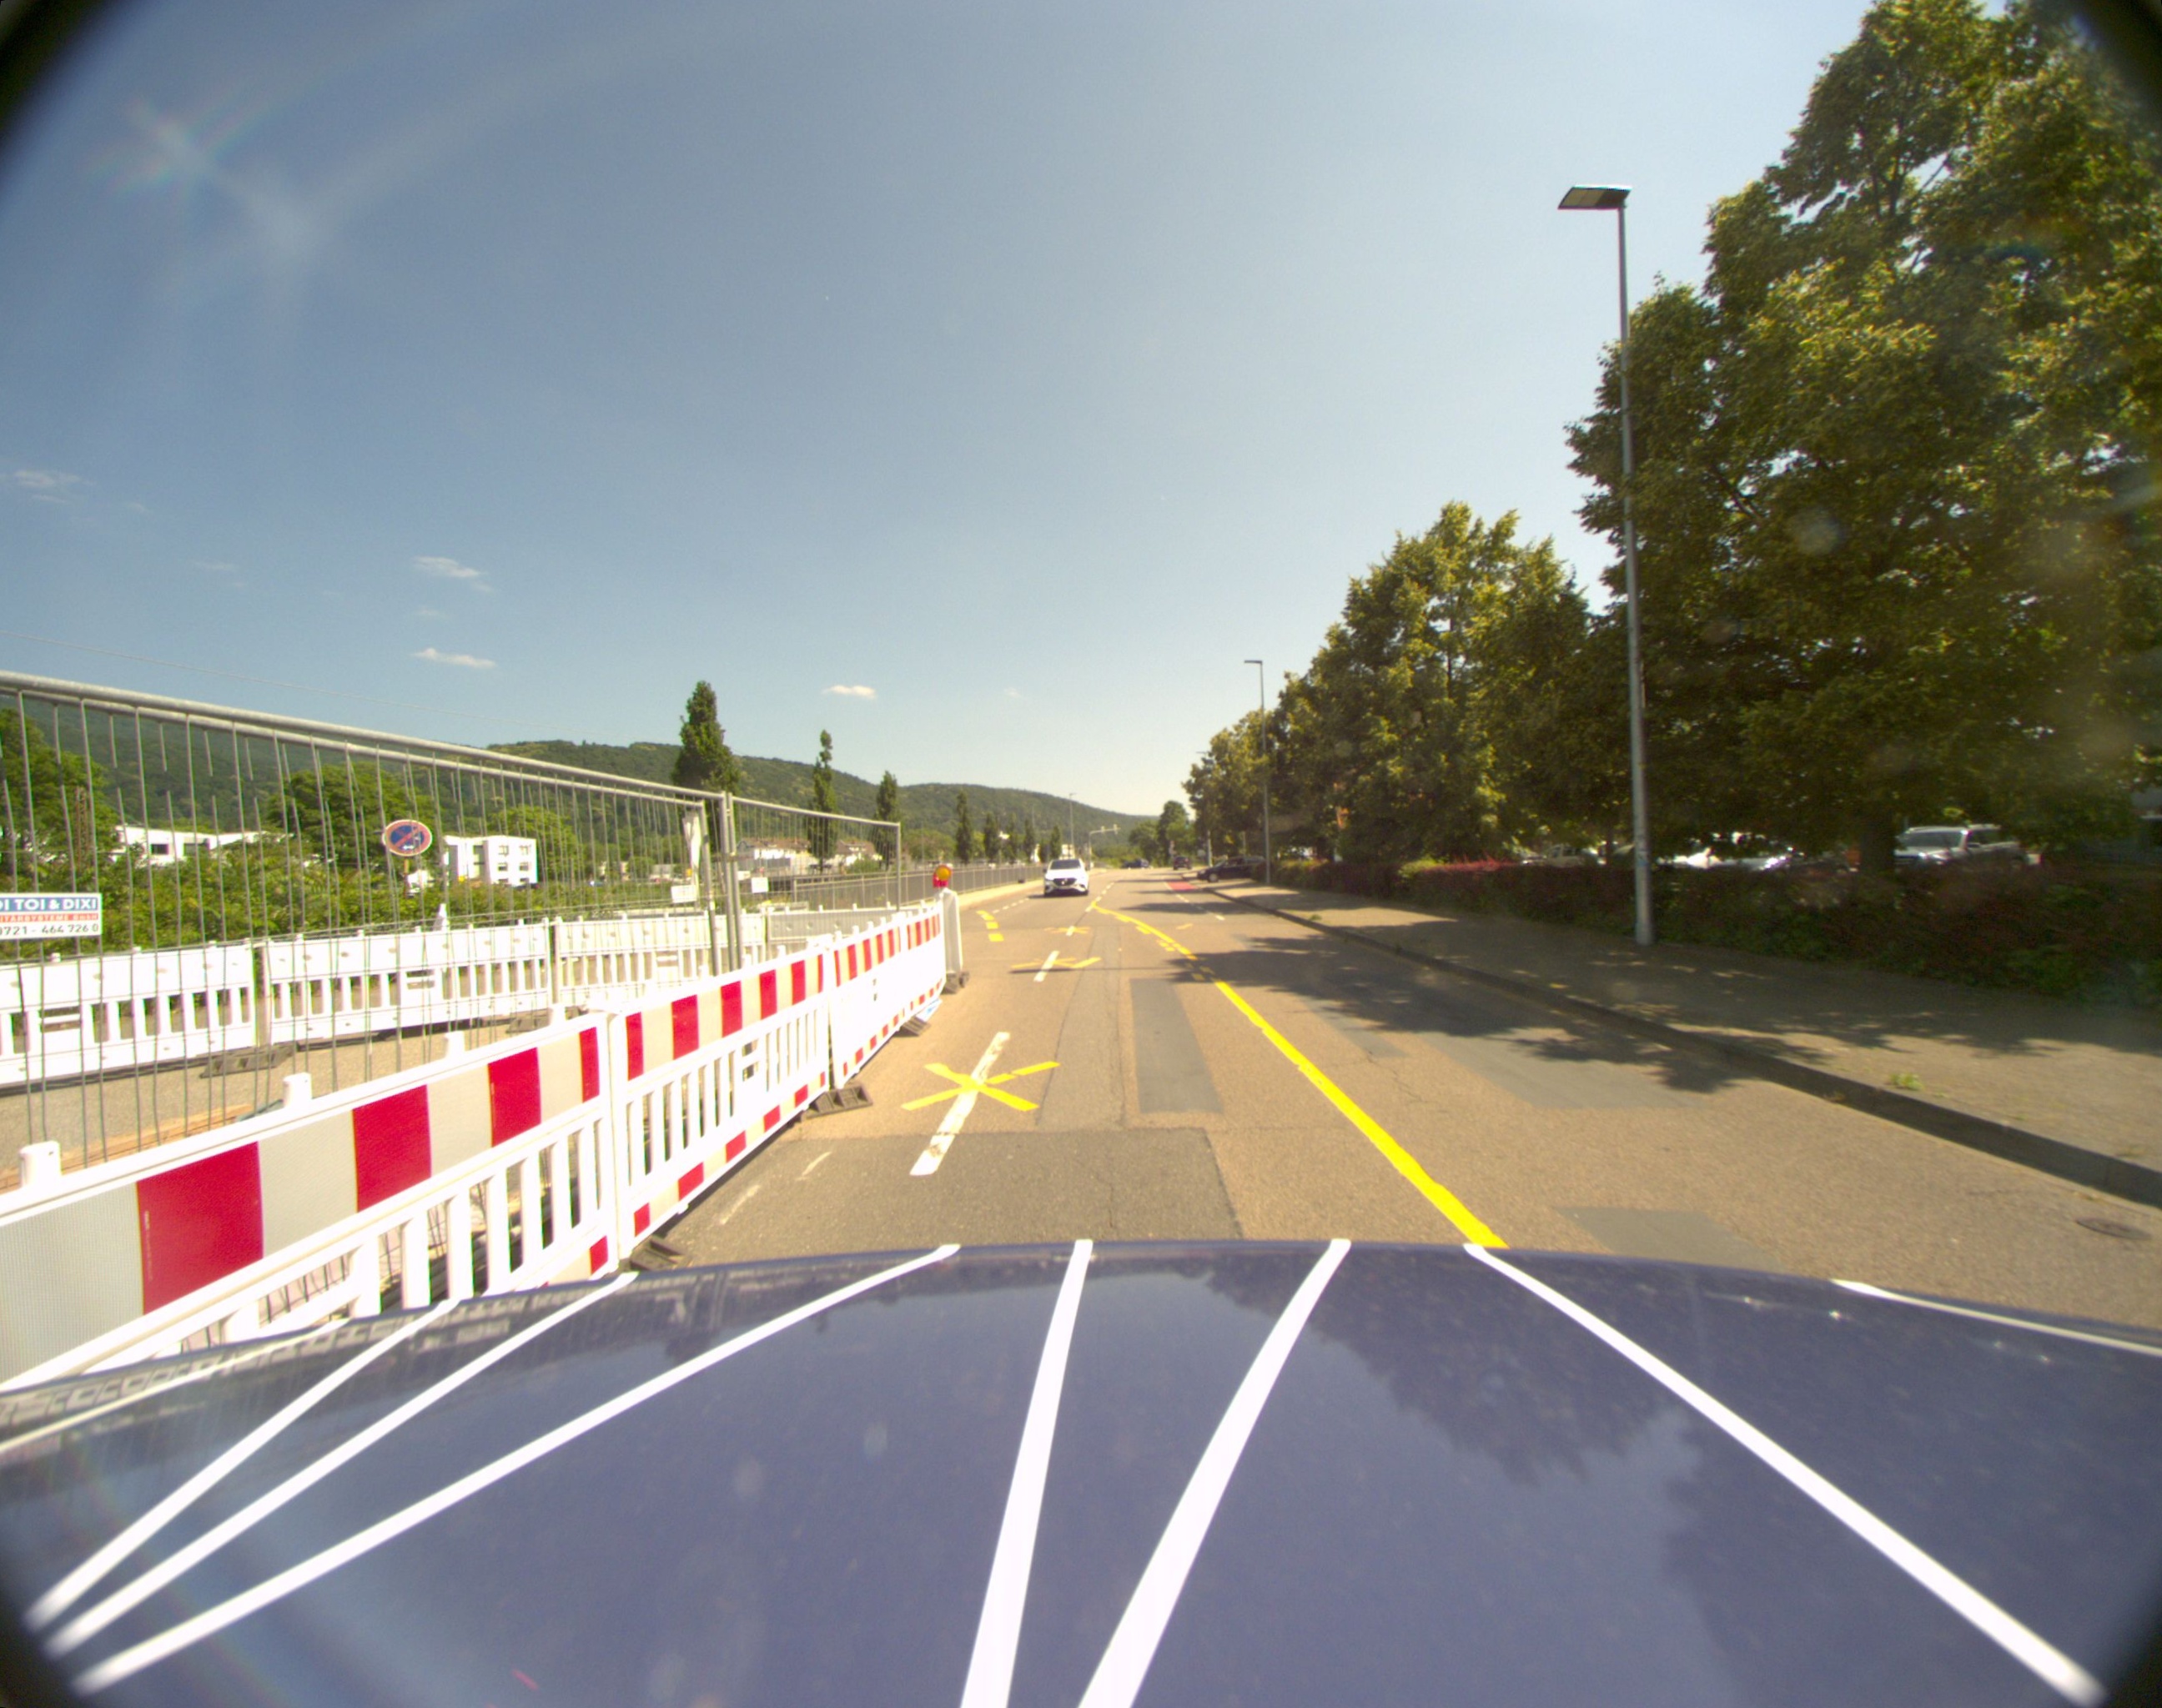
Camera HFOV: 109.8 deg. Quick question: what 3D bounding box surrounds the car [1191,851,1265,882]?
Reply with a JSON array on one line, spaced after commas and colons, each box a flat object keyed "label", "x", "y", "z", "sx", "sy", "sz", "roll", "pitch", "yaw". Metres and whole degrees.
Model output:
[{"label": "car", "x": 8.424, "y": 0.730, "z": 43.820, "sx": 3.995, "sy": 1.455, "sz": 1.881, "roll": -4, "pitch": 0, "yaw": 6}]

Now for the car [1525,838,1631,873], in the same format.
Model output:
[{"label": "car", "x": 24.431, "y": 0.085, "z": 37.563, "sx": 1.922, "sy": 1.543, "sz": 4.137, "roll": -2, "pitch": 0, "yaw": -14}]

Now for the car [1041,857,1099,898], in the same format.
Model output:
[{"label": "car", "x": -0.433, "y": 1.018, "z": 35.000, "sx": 1.998, "sy": 1.635, "sz": 5.033, "roll": -3, "pitch": 0, "yaw": 6}]

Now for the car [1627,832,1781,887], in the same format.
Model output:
[{"label": "car", "x": 21.324, "y": 0.174, "z": 26.047, "sx": 4.314, "sy": 1.676, "sz": 1.860, "roll": -2, "pitch": 0, "yaw": -15}]

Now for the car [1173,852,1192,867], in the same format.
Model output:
[{"label": "car", "x": 11.882, "y": 0.643, "z": 88.681, "sx": 1.997, "sy": 1.635, "sz": 4.532, "roll": -1, "pitch": 0, "yaw": 11}]

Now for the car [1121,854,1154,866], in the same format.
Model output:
[{"label": "car", "x": 8.133, "y": 0.887, "z": 109.447, "sx": 4.515, "sy": 1.635, "sz": 2.004, "roll": -1, "pitch": 0, "yaw": 41}]

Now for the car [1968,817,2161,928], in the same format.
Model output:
[{"label": "car", "x": 17.123, "y": 0.275, "z": 11.682, "sx": 1.861, "sy": 1.676, "sz": 4.367, "roll": 0, "pitch": 0, "yaw": -1}]

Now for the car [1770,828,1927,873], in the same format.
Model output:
[{"label": "car", "x": 32.764, "y": -0.145, "z": 32.632, "sx": 1.863, "sy": 1.676, "sz": 4.362, "roll": -4, "pitch": 0, "yaw": -12}]

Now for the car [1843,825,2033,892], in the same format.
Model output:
[{"label": "car", "x": 24.416, "y": 0.103, "z": 21.674, "sx": 4.369, "sy": 1.676, "sz": 1.860, "roll": -2, "pitch": 0, "yaw": -16}]

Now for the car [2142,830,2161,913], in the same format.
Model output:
[{"label": "car", "x": 19.639, "y": 0.296, "z": 11.214, "sx": 1.861, "sy": 1.444, "sz": 4.367, "roll": 0, "pitch": 0, "yaw": -1}]
